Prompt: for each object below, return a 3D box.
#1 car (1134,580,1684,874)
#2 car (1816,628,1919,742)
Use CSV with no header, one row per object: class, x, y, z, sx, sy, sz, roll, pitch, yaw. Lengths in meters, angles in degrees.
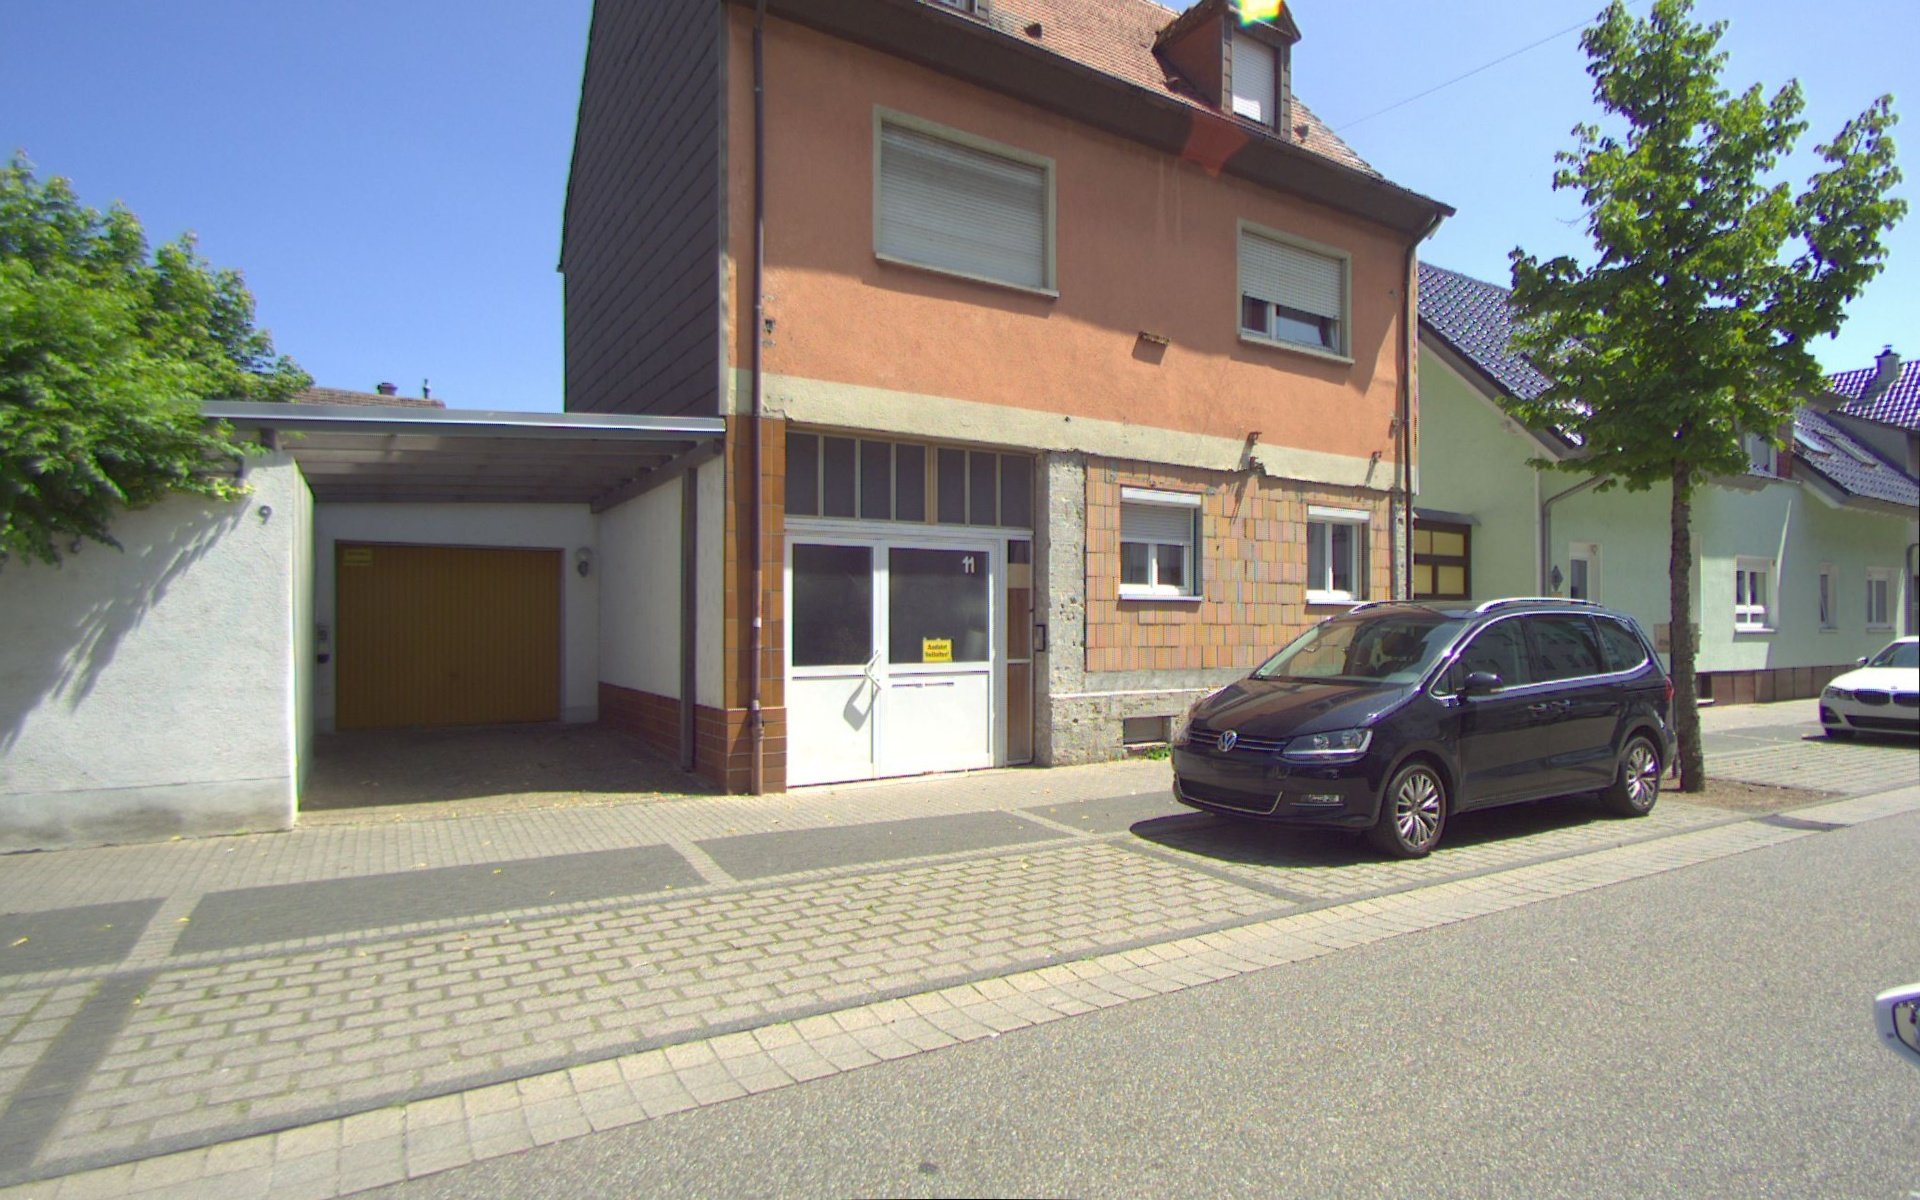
car,3.656,0.804,7.932,4.468,1.749,1.766,1,-1,-31
car,13.979,1.121,14.097,4.409,1.456,1.711,1,-2,-31
